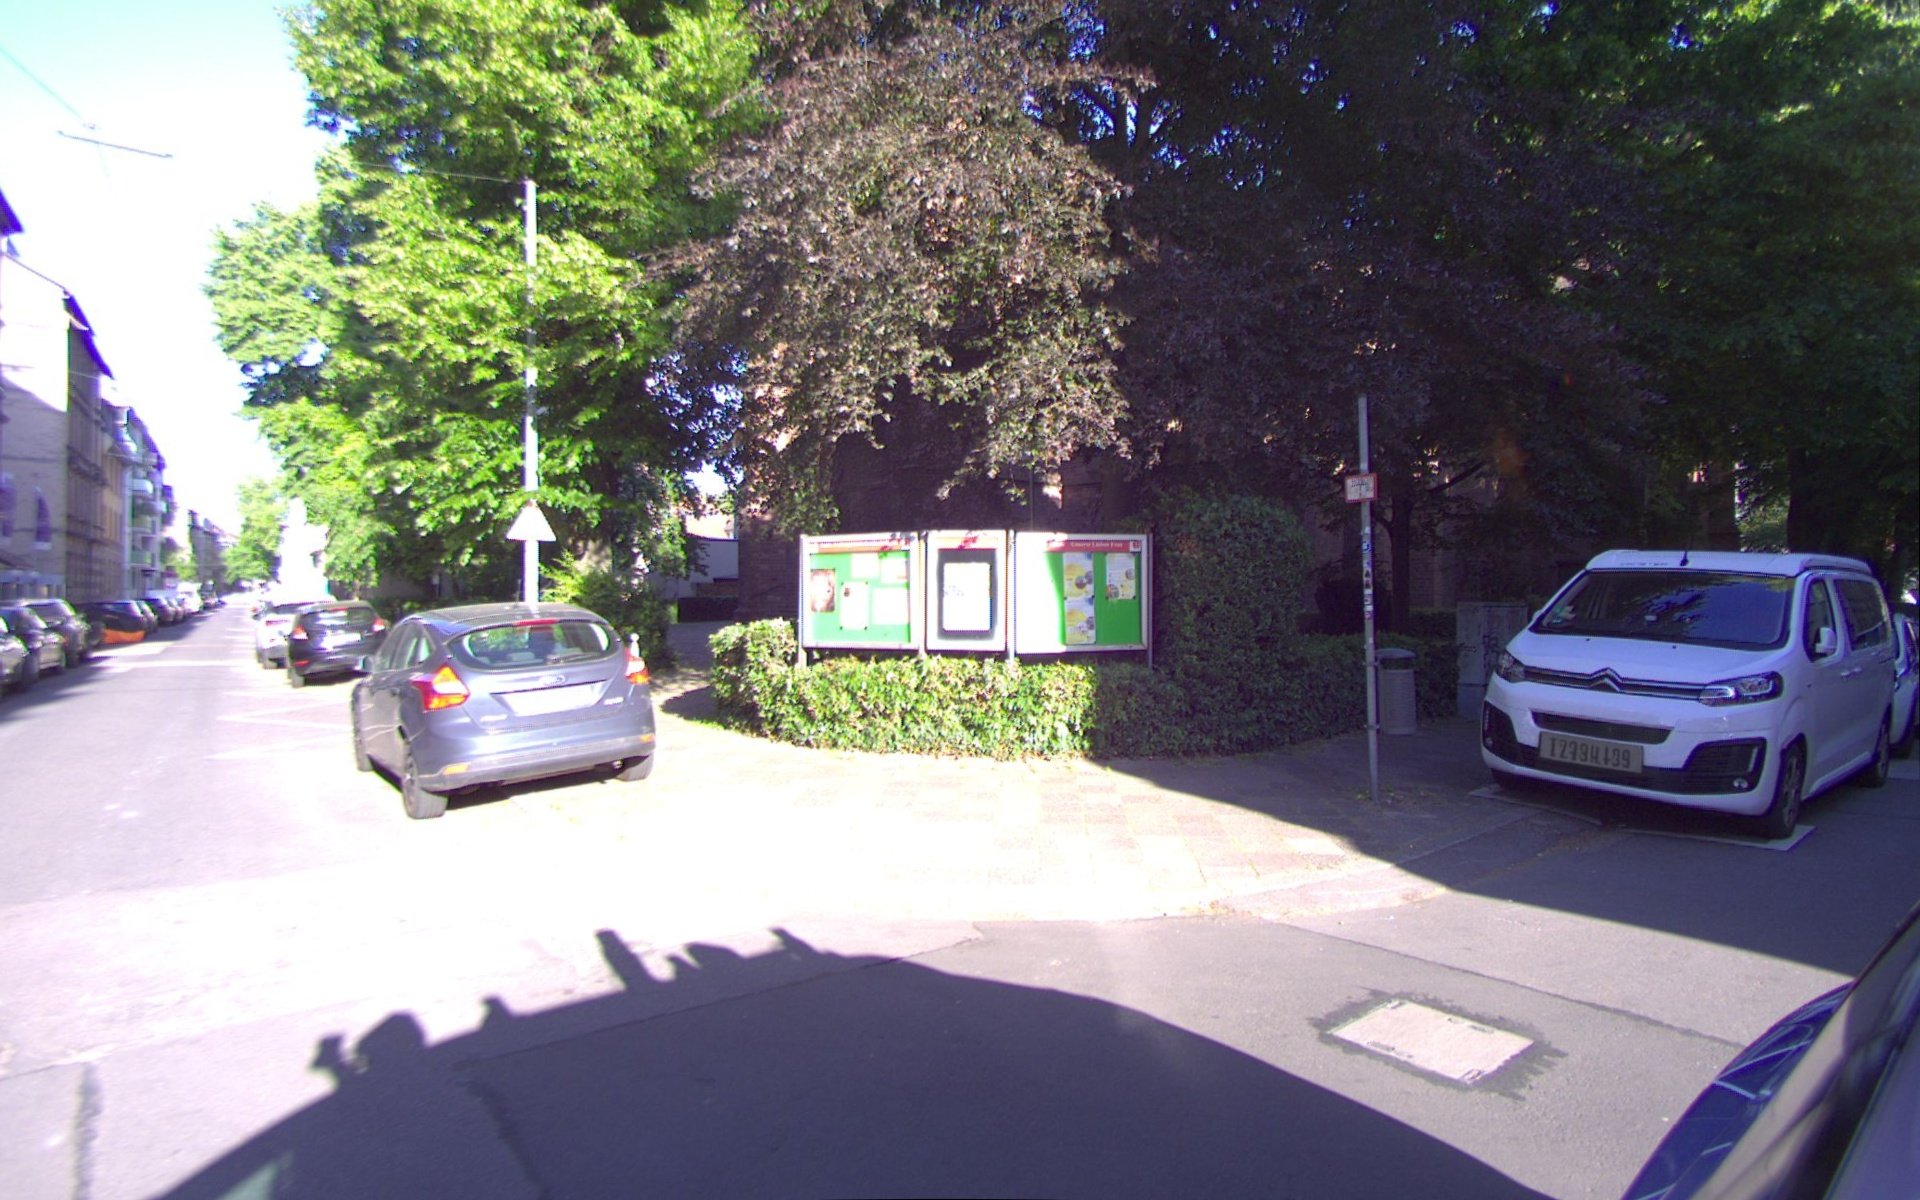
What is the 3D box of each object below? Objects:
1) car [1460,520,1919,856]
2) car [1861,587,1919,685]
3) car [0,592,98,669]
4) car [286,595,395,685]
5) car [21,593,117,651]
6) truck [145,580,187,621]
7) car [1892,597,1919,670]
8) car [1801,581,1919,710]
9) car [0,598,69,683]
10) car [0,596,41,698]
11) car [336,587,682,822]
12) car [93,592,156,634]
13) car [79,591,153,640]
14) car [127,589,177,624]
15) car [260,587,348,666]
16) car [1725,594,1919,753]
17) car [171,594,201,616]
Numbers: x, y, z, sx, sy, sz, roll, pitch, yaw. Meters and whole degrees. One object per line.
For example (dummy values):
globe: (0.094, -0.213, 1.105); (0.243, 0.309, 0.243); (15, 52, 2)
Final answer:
car: (6.198, 0.496, 8.333); (4.705, 2.023, 1.919); (0, 2, -39)
car: (18.290, 0.652, 19.054); (3.801, 1.644, 1.621); (-1, 6, -44)
car: (-21.104, 0.657, 23.150); (1.602, 1.573, 3.894); (-2, 1, -34)
car: (-11.988, 0.695, 19.488); (1.602, 1.491, 3.543); (-2, 1, -34)
car: (-26.650, 0.616, 30.386); (1.602, 1.573, 3.894); (-2, 1, -34)
truck: (-45.848, 0.048, 58.488); (1.603, 2.243, 4.365); (-2, 1, -35)
car: (22.123, 0.752, 22.390); (3.708, 1.504, 1.624); (-1, 5, -39)
car: (14.213, 0.604, 15.386); (1.741, 1.622, 4.196); (7, 6, 44)
car: (-18.389, 0.745, 19.281); (1.602, 1.491, 3.701); (-2, 1, -34)
car: (-15.432, 0.723, 15.380); (1.602, 1.491, 3.543); (-2, 1, -34)
car: (-4.011, 0.677, 8.618); (1.766, 1.457, 3.928); (-3, 1, -38)
car: (-34.116, 0.493, 41.385); (1.603, 1.573, 3.893); (-2, 1, -35)
car: (-29.665, 0.531, 35.671); (1.603, 1.573, 3.893); (-2, 1, -35)
car: (-39.933, 0.310, 50.072); (1.603, 1.573, 3.893); (-2, 1, -35)
car: (-15.565, 0.578, 23.995); (1.602, 1.669, 3.543); (-2, 1, -34)
car: (10.475, 0.729, 11.975); (3.765, 1.591, 1.720); (0, 0, -44)
car: (-59.707, 0.401, 78.058); (1.603, 1.573, 3.893); (-2, 1, -35)
